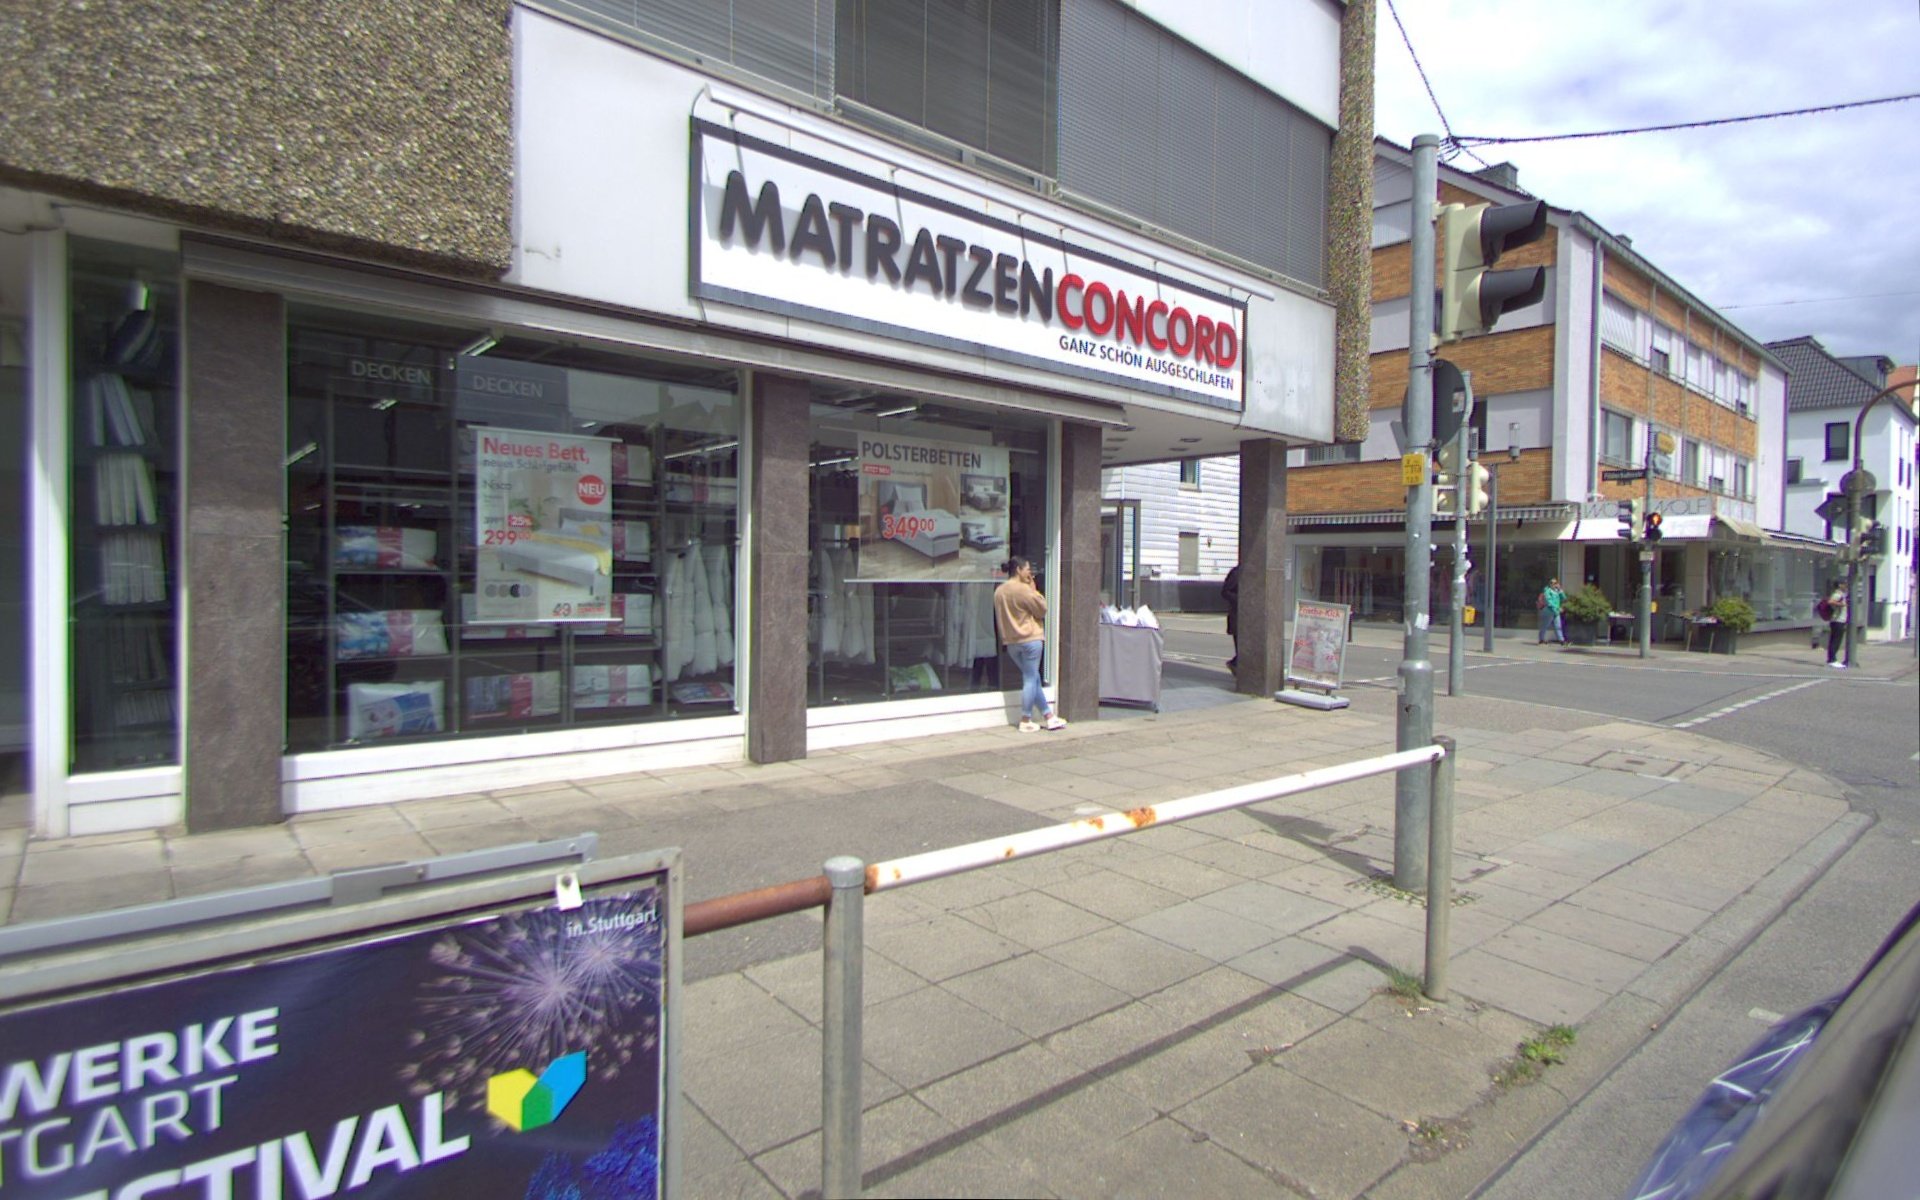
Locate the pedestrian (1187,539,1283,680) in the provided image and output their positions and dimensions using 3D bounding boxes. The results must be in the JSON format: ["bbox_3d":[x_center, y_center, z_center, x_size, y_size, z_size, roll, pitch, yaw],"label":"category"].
[{"bbox_3d":[3.439,0.103,12.691,0.781,1.691,0.809,1,2,-24],"label":"pedestrian"}]

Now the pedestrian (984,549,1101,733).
[{"bbox_3d":[0.714,0.324,8.784,0.707,1.517,0.681,0,1,-41],"label":"pedestrian"}]

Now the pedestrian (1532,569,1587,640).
[{"bbox_3d":[13.496,0.099,22.786,0.766,1.544,0.818,0,2,-42],"label":"pedestrian"}]

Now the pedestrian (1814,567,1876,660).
[{"bbox_3d":[18.227,0.266,20.842,0.862,1.853,0.583,1,2,-24],"label":"pedestrian"}]
